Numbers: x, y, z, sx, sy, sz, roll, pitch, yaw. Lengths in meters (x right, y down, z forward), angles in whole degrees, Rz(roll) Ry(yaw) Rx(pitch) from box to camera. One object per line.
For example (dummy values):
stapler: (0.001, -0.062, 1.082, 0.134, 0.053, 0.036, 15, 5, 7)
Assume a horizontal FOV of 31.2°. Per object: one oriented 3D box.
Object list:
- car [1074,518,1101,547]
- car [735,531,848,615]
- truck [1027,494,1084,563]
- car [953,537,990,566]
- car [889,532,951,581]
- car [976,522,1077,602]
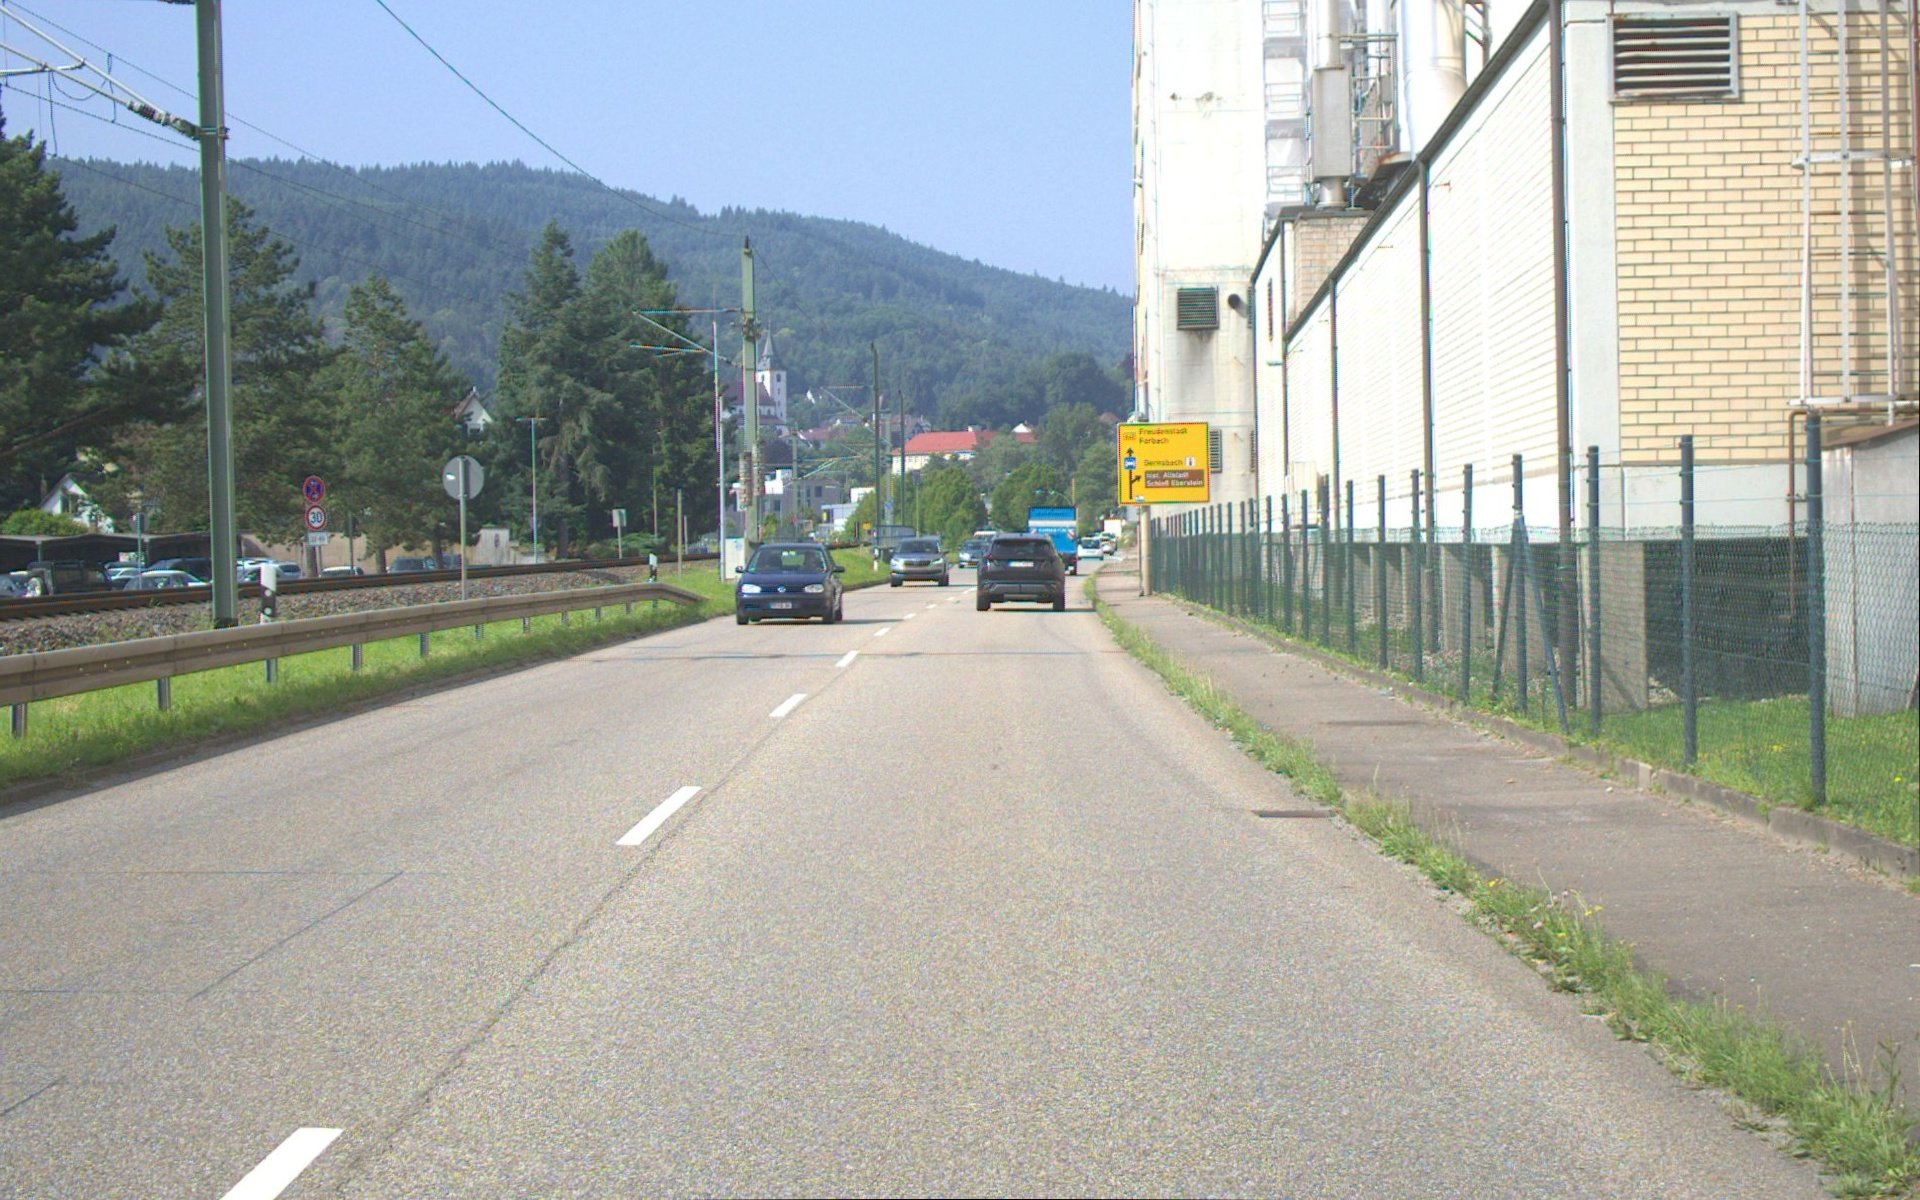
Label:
car: (8.282, -4.394, 222.590, 1.667, 1.816, 3.751, -1, 1, 3)
car: (-2.974, -0.503, 61.372, 1.764, 1.398, 4.120, -1, 1, 0)
truck: (4.224, -3.194, 152.916, 2.312, 2.960, 5.966, -1, 2, 0)
car: (0.626, -2.550, 179.509, 1.768, 1.400, 4.297, -2, 1, 2)
car: (-1.337, -1.462, 116.152, 1.906, 1.595, 4.570, -1, 1, 1)
car: (1.449, -0.829, 73.665, 1.920, 1.634, 4.000, -1, 1, 5)
